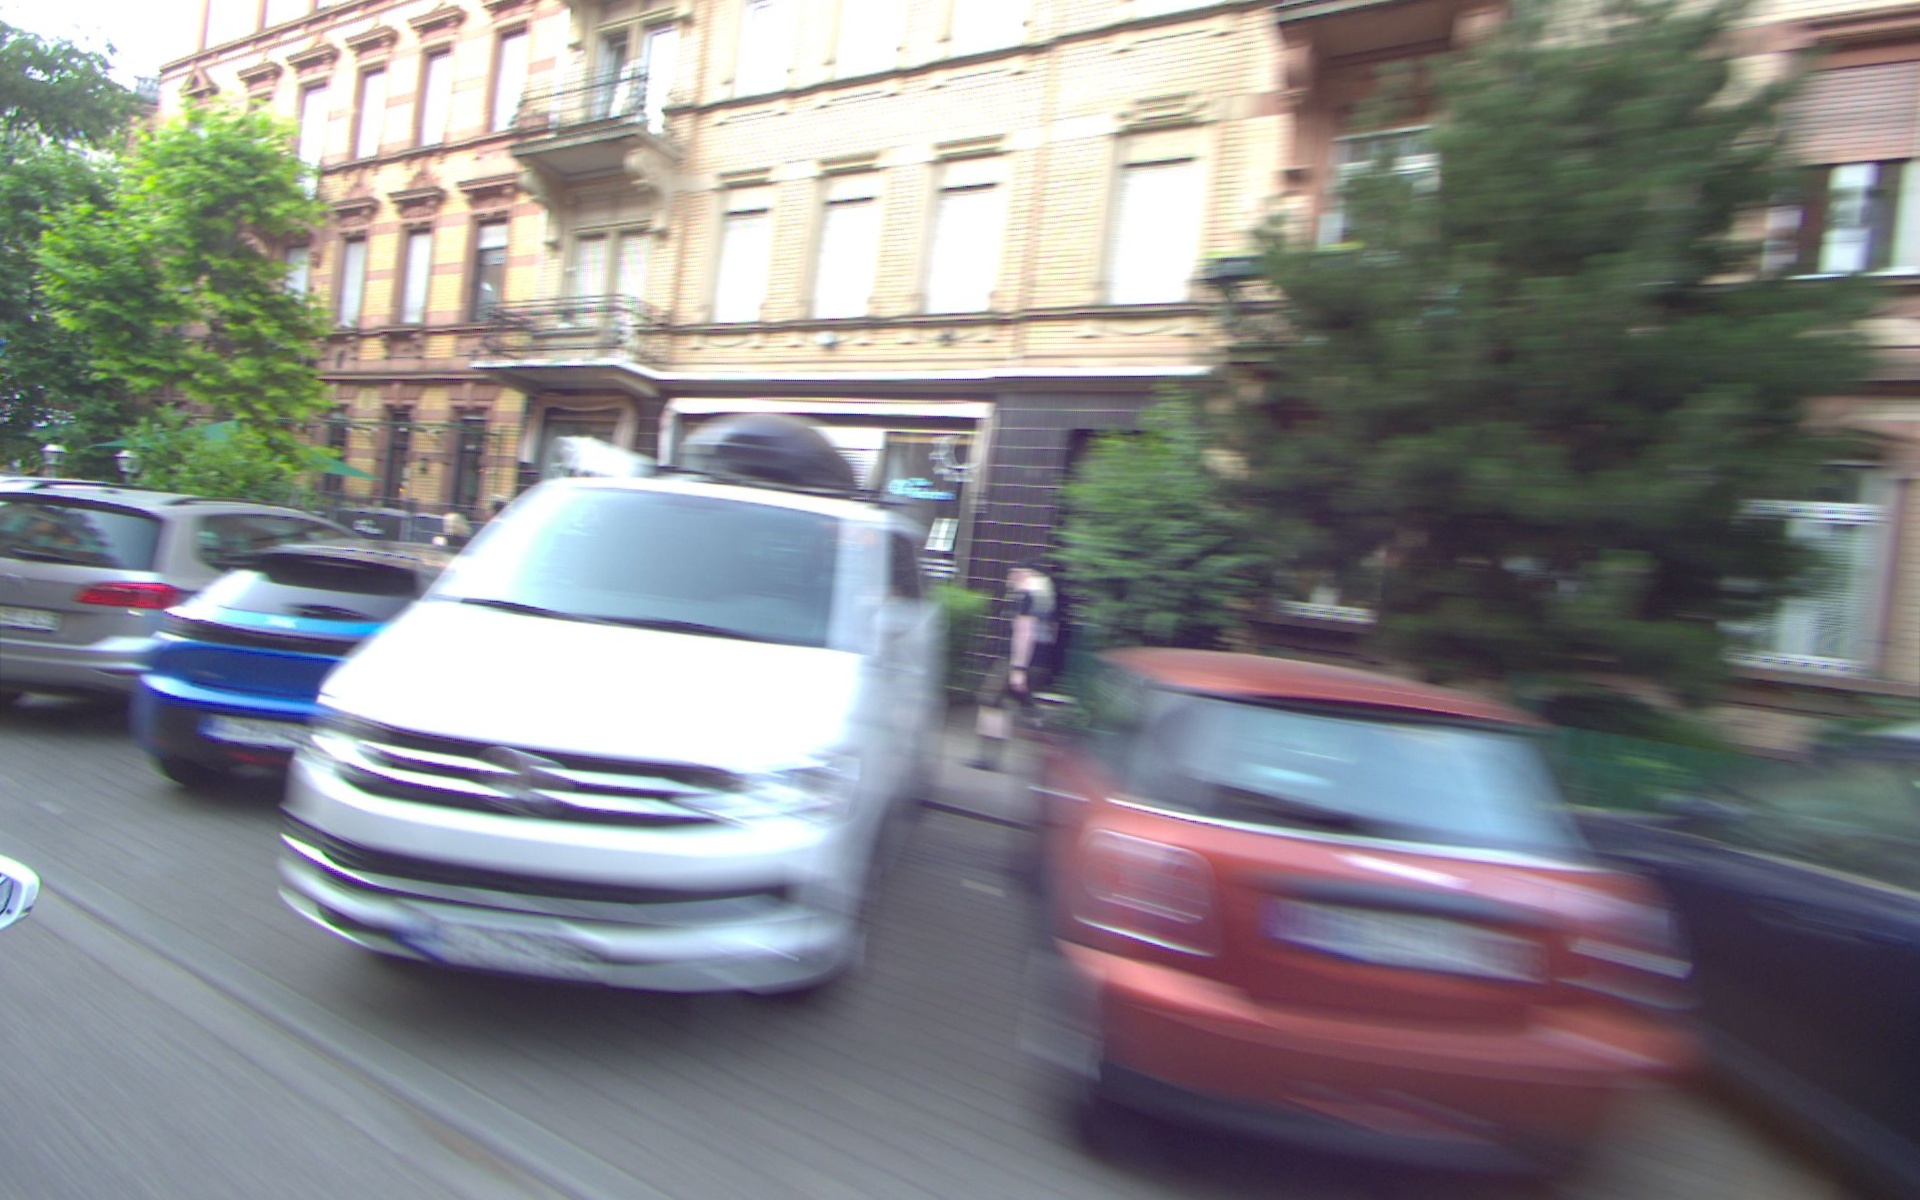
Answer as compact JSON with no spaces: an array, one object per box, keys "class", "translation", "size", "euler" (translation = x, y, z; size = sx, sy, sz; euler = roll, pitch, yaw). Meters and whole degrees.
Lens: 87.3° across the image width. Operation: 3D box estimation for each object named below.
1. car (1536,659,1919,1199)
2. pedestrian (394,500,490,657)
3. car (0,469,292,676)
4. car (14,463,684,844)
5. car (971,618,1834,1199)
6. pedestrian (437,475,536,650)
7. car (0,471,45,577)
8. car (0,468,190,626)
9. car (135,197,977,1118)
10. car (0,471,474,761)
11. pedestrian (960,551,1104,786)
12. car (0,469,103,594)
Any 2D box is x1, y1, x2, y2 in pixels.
[{"class":"car","translation":[3.364,1.115,2.374],"size":[1.813,1.535,3.868],"euler":[7,0,4]},{"class":"pedestrian","translation":[-5.961,-0.250,11.581],"size":[0.647,1.700,0.622],"euler":[6,-1,43]},{"class":"car","translation":[-8.463,-0.343,9.286],"size":[1.785,1.612,4.104],"euler":[7,2,-1]},{"class":"car","translation":[-3.527,0.267,6.930],"size":[1.851,1.610,4.166],"euler":[7,0,1]},{"class":"car","translation":[1.086,0.923,4.325],"size":[1.727,1.426,3.865],"euler":[6,0,-3]},{"class":"pedestrian","translation":[-5.813,-0.452,12.368],"size":[0.645,2.037,0.624],"euler":[6,-1,31]},{"class":"car","translation":[-15.249,-1.189,13.717],"size":[1.785,1.572,4.103],"euler":[7,2,-2]},{"class":"car","translation":[-10.945,-0.673,11.267],"size":[1.787,1.612,4.099],"euler":[6,2,-8]},{"class":"car","translation":[-1.151,0.171,5.335],"size":[1.962,2.392,4.939],"euler":[7,0,4]},{"class":"car","translation":[-5.878,-0.019,8.060],"size":[1.851,1.611,4.161],"euler":[7,2,-1]},{"class":"pedestrian","translation":[0.598,0.535,8.289],"size":[0.813,1.773,0.684],"euler":[6,3,32]},{"class":"car","translation":[-13.080,-0.939,12.225],"size":[1.785,1.572,4.103],"euler":[7,2,-2]}]
